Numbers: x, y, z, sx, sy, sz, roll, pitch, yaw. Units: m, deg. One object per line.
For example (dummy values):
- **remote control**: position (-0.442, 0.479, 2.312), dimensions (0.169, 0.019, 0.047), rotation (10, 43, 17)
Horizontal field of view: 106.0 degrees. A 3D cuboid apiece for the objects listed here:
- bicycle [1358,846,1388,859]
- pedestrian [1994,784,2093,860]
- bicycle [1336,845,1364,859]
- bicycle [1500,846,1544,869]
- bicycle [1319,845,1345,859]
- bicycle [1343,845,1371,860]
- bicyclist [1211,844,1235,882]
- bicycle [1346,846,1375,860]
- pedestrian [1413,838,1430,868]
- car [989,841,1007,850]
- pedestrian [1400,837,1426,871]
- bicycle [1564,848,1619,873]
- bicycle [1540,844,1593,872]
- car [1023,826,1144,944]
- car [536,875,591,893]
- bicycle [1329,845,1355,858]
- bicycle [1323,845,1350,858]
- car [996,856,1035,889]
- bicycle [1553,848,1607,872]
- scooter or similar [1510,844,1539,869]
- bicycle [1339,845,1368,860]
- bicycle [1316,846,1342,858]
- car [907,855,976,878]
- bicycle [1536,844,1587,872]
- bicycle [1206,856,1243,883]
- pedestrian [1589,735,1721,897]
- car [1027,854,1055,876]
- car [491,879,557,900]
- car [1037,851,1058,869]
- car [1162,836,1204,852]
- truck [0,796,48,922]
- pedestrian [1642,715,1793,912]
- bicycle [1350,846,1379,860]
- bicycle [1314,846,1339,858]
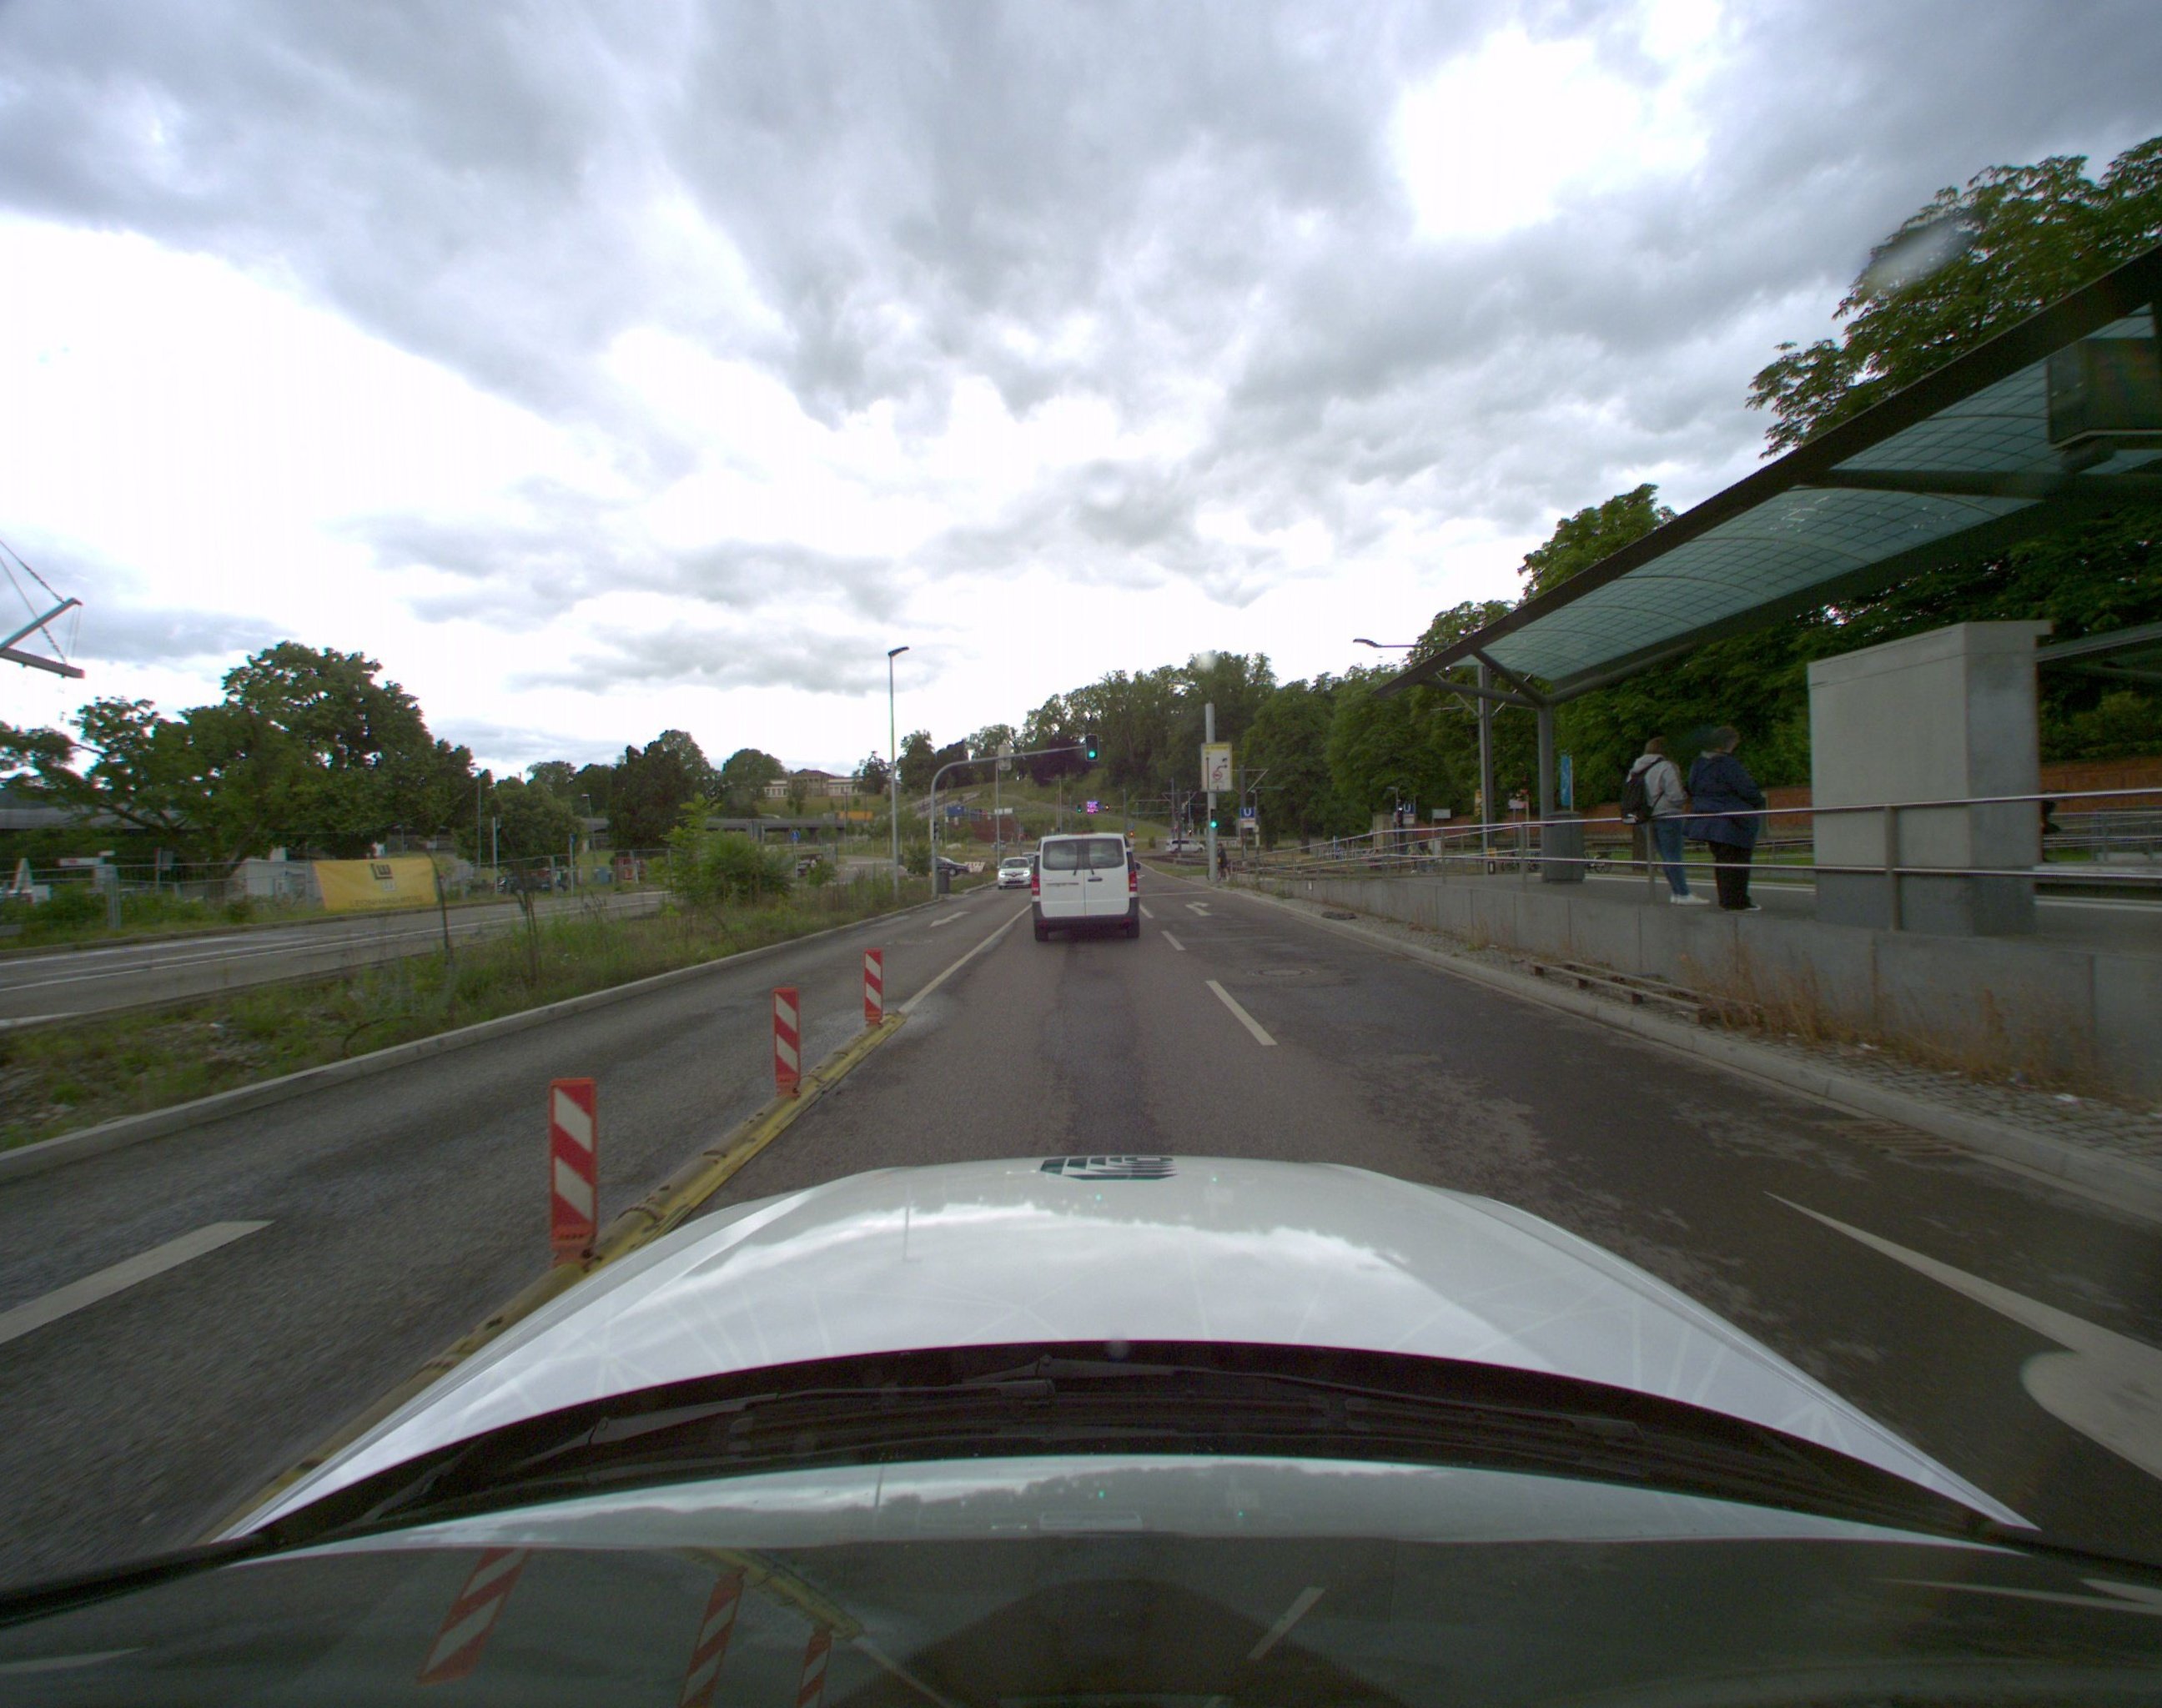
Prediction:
- **bicycle**: position (20.674, -0.109, 57.607), dimensions (1.905, 0.895, 0.531), rotation (-2, 0, 0)
- **pedestrian**: position (17.535, -0.565, 14.863), dimensions (0.671, 1.323, 0.968), rotation (1, 0, -1)
- **bicycle**: position (20.416, -0.124, 61.832), dimensions (1.905, 0.975, 0.531), rotation (-2, 0, 0)
- **bicycle**: position (20.092, 0.147, 37.097), dimensions (1.757, 1.034, 0.483), rotation (1, 0, 1)
- **bicycle**: position (20.200, -0.164, 65.612), dimensions (1.905, 0.975, 0.531), rotation (-2, 0, 0)
- **bicycle**: position (20.442, -0.119, 60.309), dimensions (1.905, 0.975, 0.531), rotation (-2, 0, 0)
- **bicyclist**: position (6.120, 0.378, 35.057), dimensions (0.810, 1.572, 0.611), rotation (-2, 2, -39)
- **bicycle**: position (20.396, -0.070, 59.369), dimensions (1.905, 0.975, 0.531), rotation (-2, 0, 0)
- **pedestrian**: position (17.283, -0.042, 41.319), dimensions (0.498, 1.502, 0.512), rotation (-2, 0, -22)
- **car**: position (-15.085, -1.473, 148.078), dimensions (1.947, 1.627, 3.967), rotation (-1, 0, -25)
- **pedestrian**: position (16.313, 0.019, 40.003), dimensions (0.836, 1.609, 0.773), rotation (-2, 0, -22)
- **bicycle**: position (20.194, 0.250, 32.227), dimensions (1.866, 0.963, 0.533), rotation (1, 0, 1)
- **bicycle**: position (20.126, 0.164, 33.790), dimensions (1.866, 1.139, 0.533), rotation (1, 0, 1)
- **car**: position (0.148, 0.506, 15.649), dimensions (1.951, 1.904, 4.465), rotation (-1, 0, 3)
- **car**: position (-43.158, 2.516, 67.910), dimensions (1.582, 1.291, 3.530), rotation (-2, 0, 39)
- **bicycle**: position (20.538, -0.185, 64.069), dimensions (1.905, 0.975, 0.531), rotation (-2, 0, 0)
- **bicycle**: position (20.359, -0.176, 64.884), dimensions (1.905, 0.975, 0.531), rotation (-2, 0, 0)
- **car**: position (-3.252, 0.894, 41.276), dimensions (1.586, 1.517, 4.084), rotation (-2, 0, 0)
- **bicycle**: position (20.183, 0.241, 32.954), dimensions (1.866, 0.963, 0.533), rotation (1, 0, 1)
- **scooter or similar**: position (20.727, 0.116, 38.043), dimensions (1.152, 1.139, 0.335), rotation (1, 0, 24)
- **bicycle**: position (20.419, -0.114, 61.050), dimensions (1.905, 0.975, 0.531), rotation (-2, 0, 0)
- **bicycle**: position (20.292, -0.161, 66.593), dimensions (1.905, 0.975, 0.531), rotation (-2, 0, 0)
- **car**: position (-10.621, 0.948, 62.021), dimensions (4.679, 1.477, 2.006), rotation (-2, 1, 10)
- **bicycle**: position (20.482, 0.162, 34.744), dimensions (1.866, 1.139, 0.533), rotation (1, 0, 1)
- **bicycle**: position (6.185, 0.642, 35.116), dimensions (1.693, 1.074, 0.613), rotation (-2, 2, -39)
- **pedestrian**: position (5.754, -0.378, 8.211), dimensions (0.747, 1.553, 0.775), rotation (1, 2, 2)
- **car**: position (-2.828, 0.801, 58.019), dimensions (1.724, 1.421, 4.444), rotation (-3, 0, 0)
- **car**: position (-42.128, 2.649, 61.687), dimensions (3.933, 1.291, 1.787), rotation (-2, 0, -30)
- **car**: position (-3.048, 0.523, 74.853), dimensions (1.724, 1.529, 4.444), rotation (-3, 0, 0)
- **car**: position (13.401, -1.265, 107.300), dimensions (5.137, 2.013, 2.199), rotation (-1, 0, -12)
- **truck**: position (-28.625, 0.189, 18.586), dimensions (2.808, 3.335, 8.403), rotation (-3, 1, -27)
- **pedestrian**: position (5.775, -0.360, 7.436), dimensions (0.767, 1.699, 0.732), rotation (1, 2, 2)
- **bicycle**: position (20.436, -0.070, 58.722), dimensions (1.905, 0.975, 0.531), rotation (-2, 0, 0)
- **bicycle**: position (20.351, -0.159, 67.518), dimensions (1.905, 0.975, 0.531), rotation (-2, 0, 0)
